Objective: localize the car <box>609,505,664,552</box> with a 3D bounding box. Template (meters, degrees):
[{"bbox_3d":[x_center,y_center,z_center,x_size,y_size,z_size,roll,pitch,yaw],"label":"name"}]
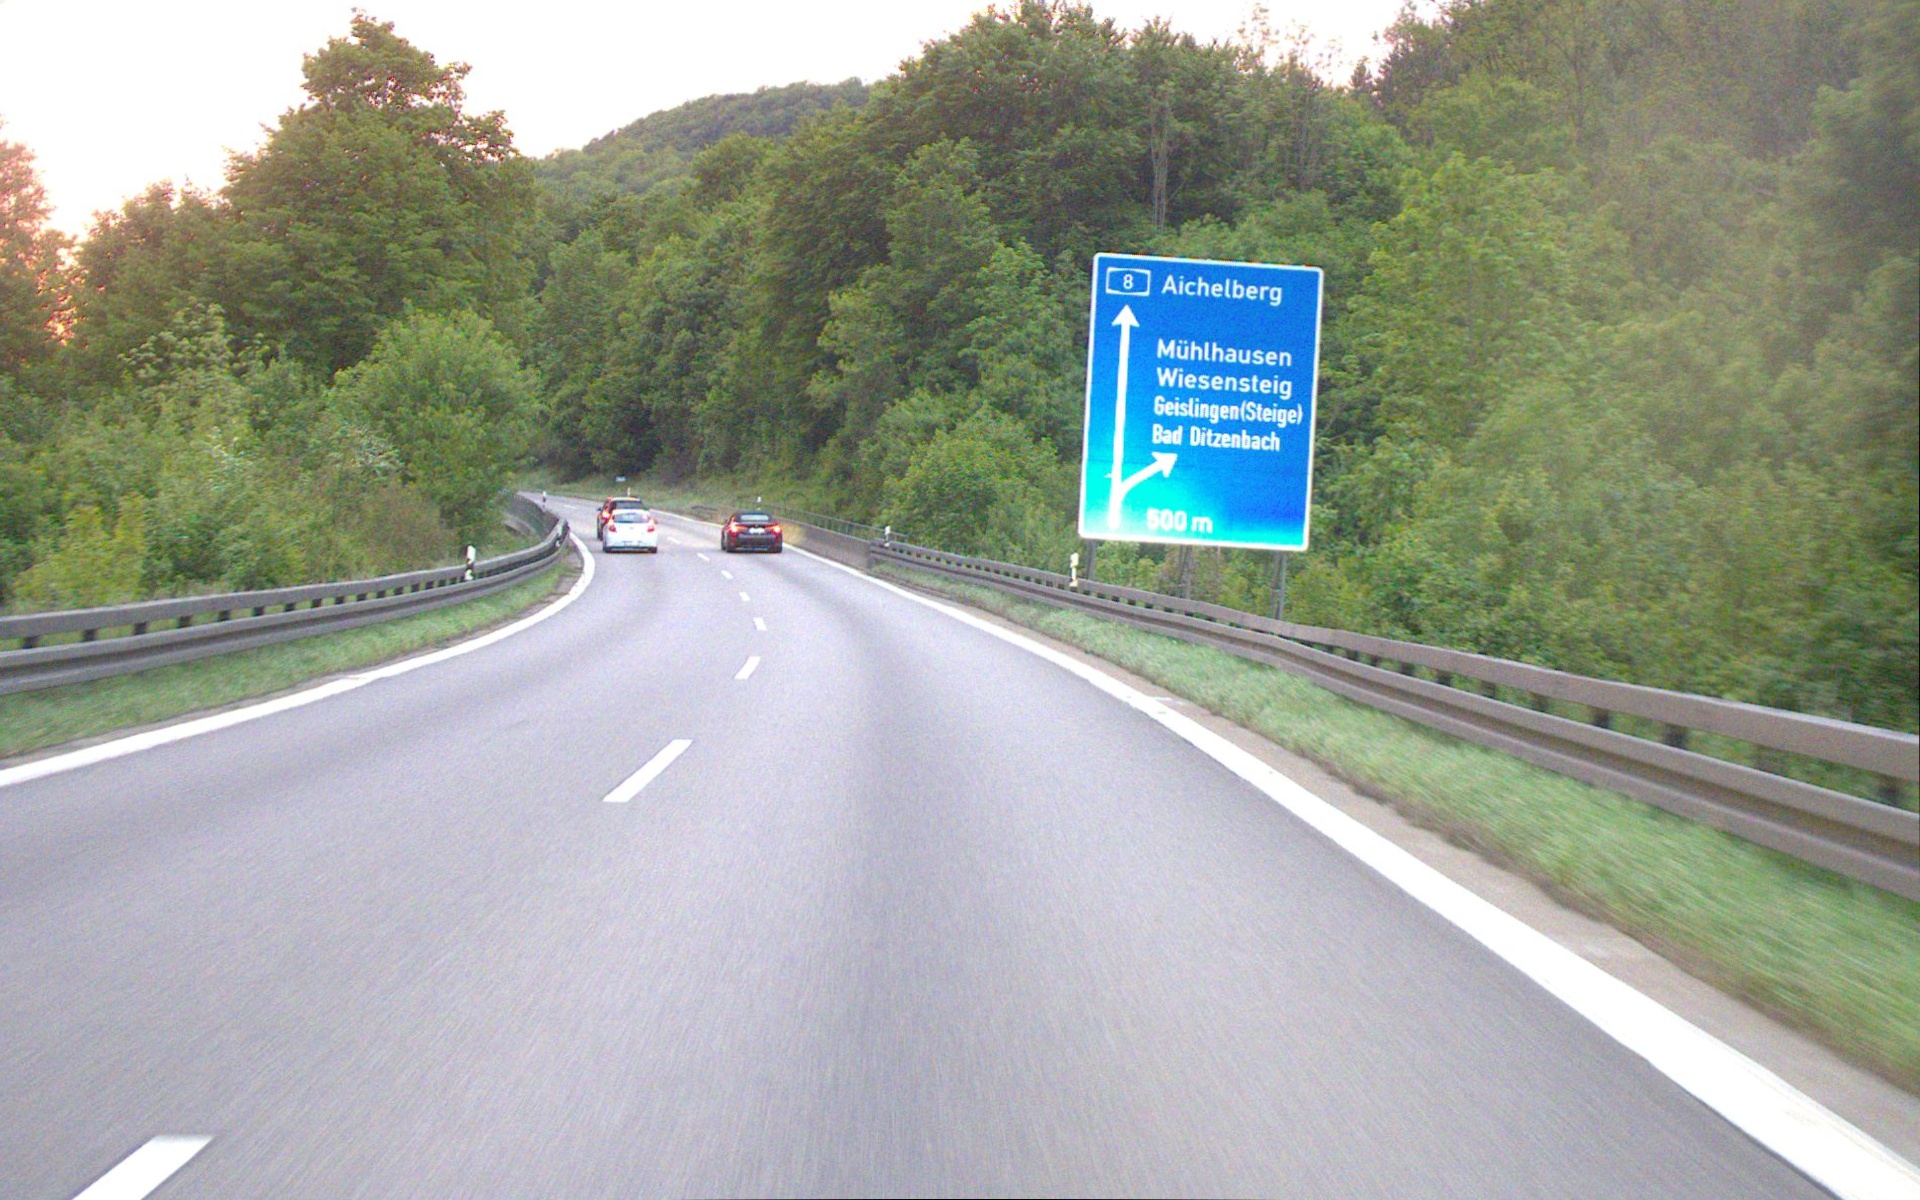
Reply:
[{"bbox_3d":[-10.985,-2.429,117.029,1.718,1.496,4.001,2,0,-4],"label":"car"}]

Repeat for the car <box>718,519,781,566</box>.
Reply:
[{"bbox_3d":[-7.214,-1.961,118.239,1.878,1.461,4.000,-4,0,-1],"label":"car"}]
